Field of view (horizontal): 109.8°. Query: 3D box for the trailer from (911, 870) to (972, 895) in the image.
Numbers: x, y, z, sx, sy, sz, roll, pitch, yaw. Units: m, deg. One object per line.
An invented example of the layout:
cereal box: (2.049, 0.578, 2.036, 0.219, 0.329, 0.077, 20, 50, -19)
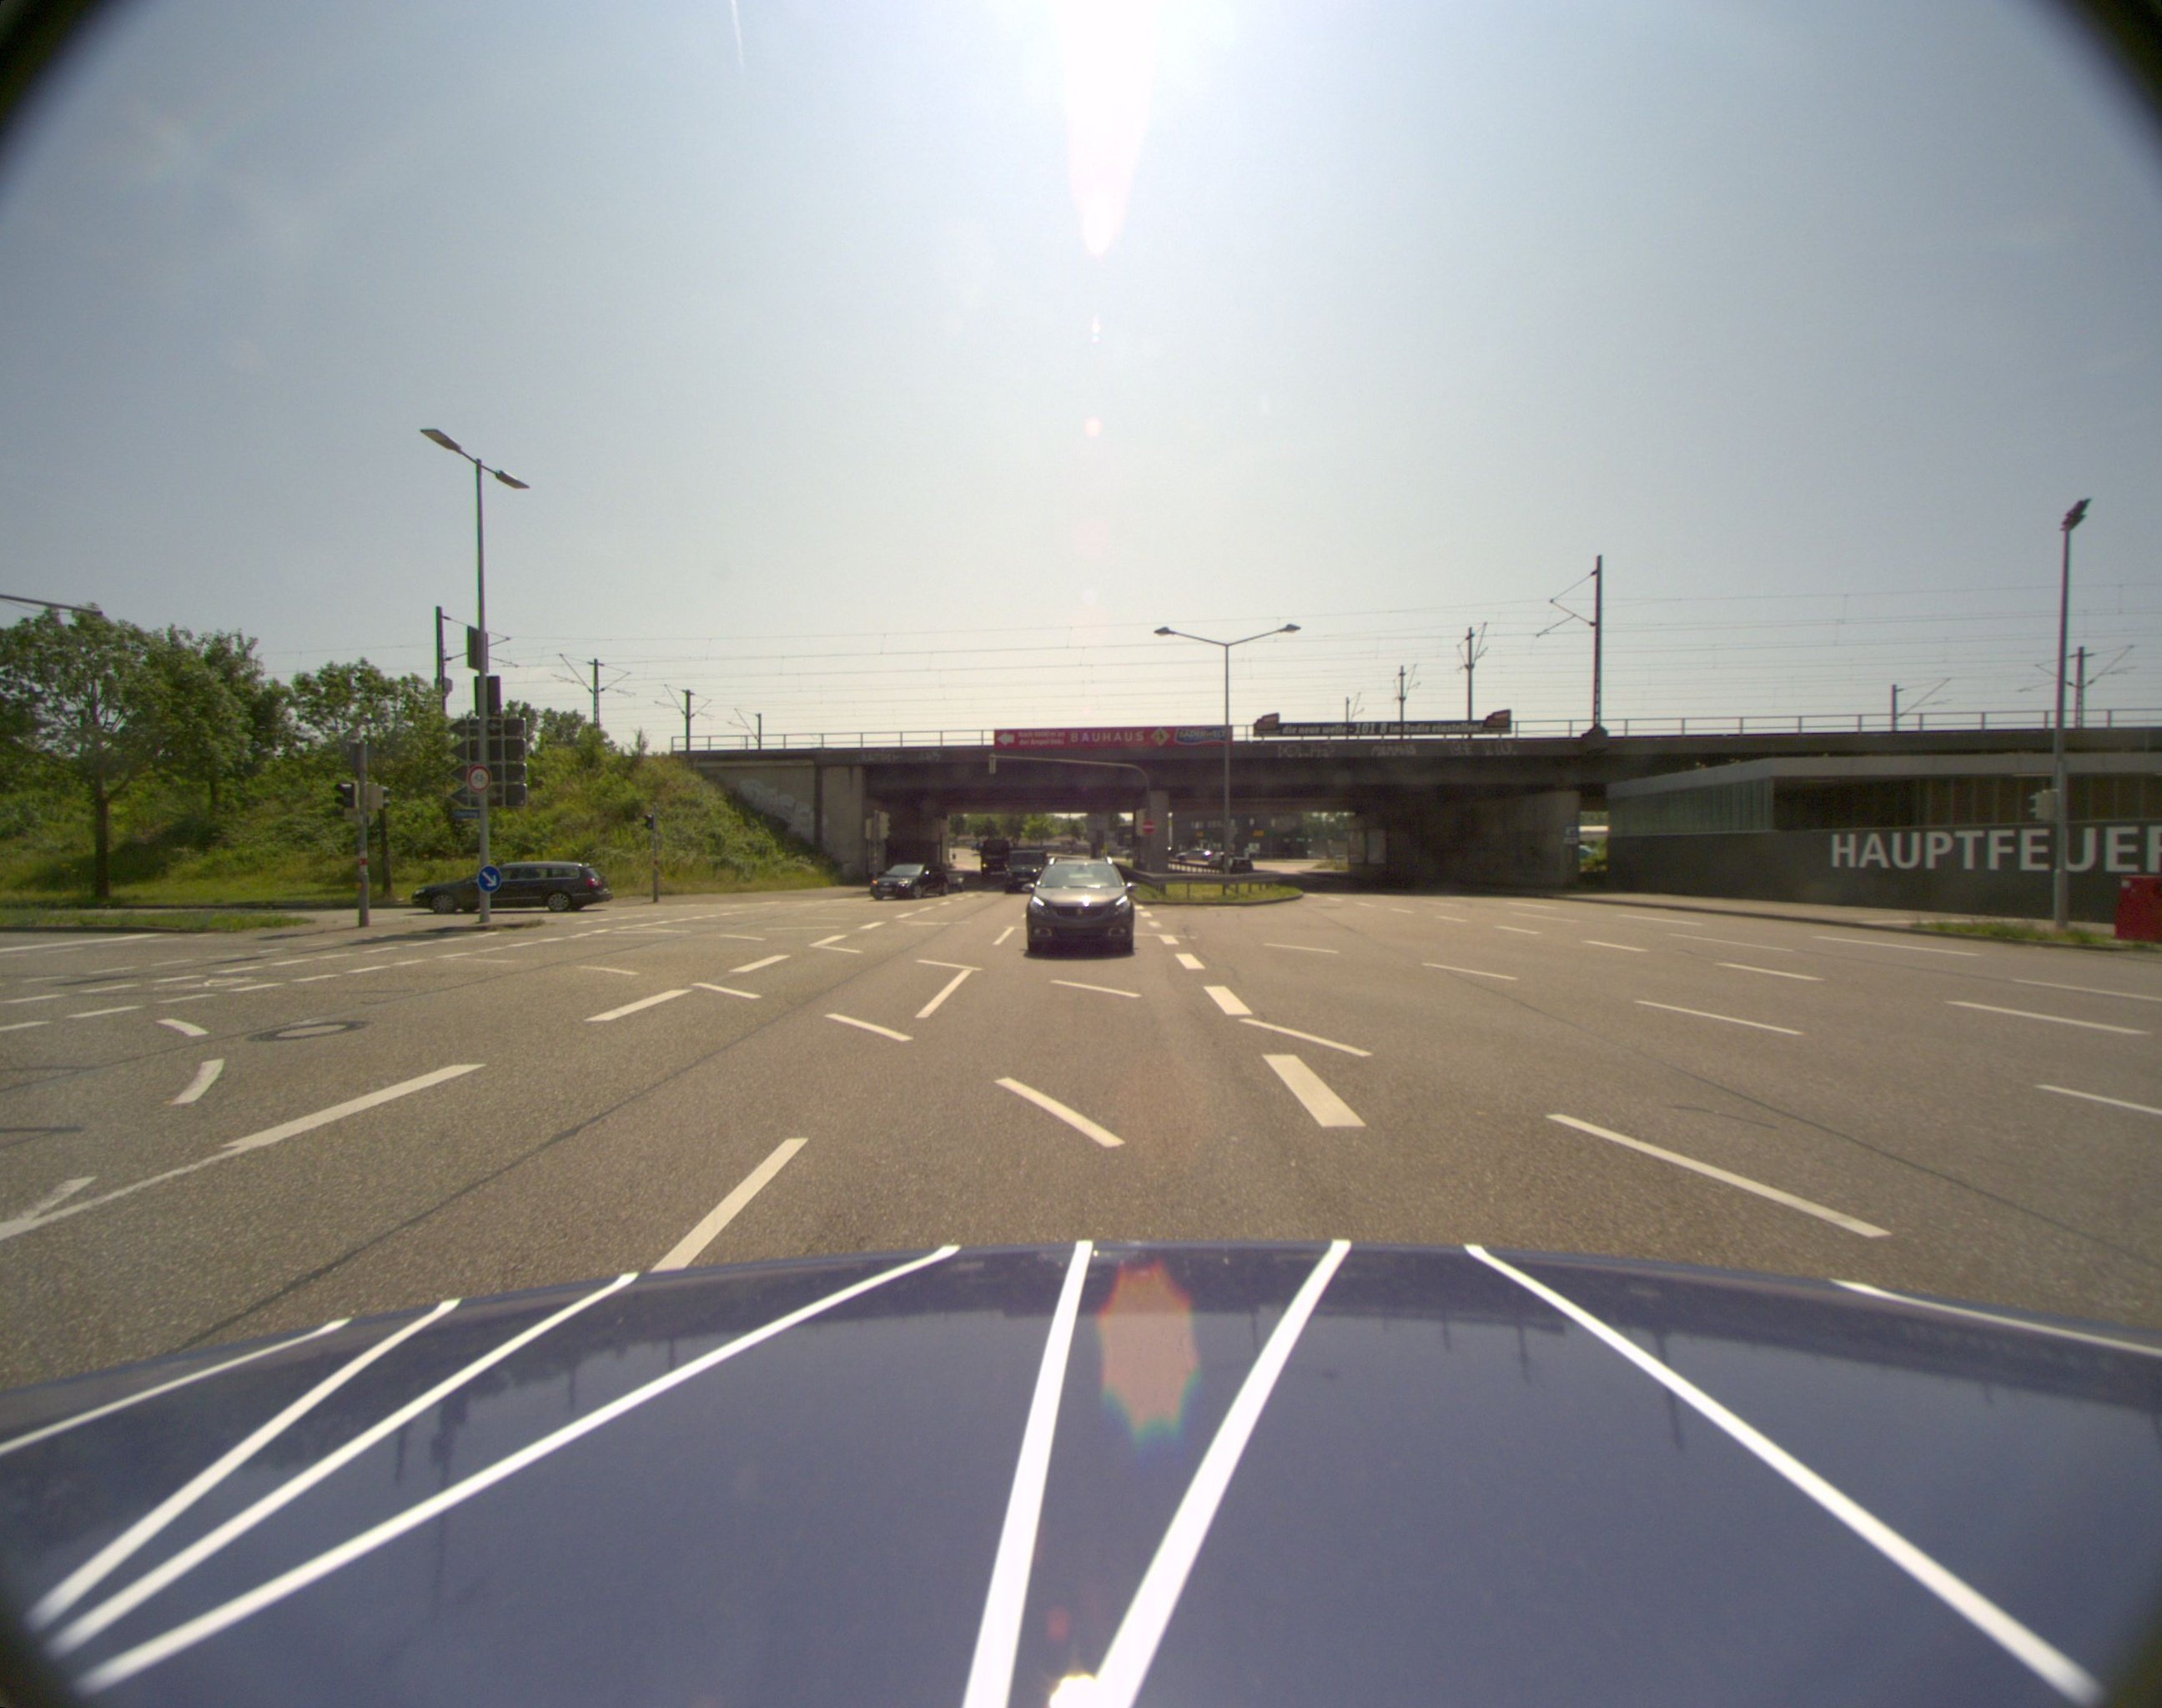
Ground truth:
trailer: (-6.143, 1.245, 33.816, 1.679, 0.936, 3.834, 0, 0, 5)

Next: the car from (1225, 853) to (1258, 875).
car: (11.211, 0.691, 53.213, 1.710, 1.442, 3.373, 0, 0, 1)

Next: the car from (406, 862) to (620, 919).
car: (-16.478, 1.016, 22.347, 4.678, 1.494, 1.806, 0, 0, -20)

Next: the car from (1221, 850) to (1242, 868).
car: (13.481, 0.438, 68.363, 1.709, 1.535, 3.375, 0, 1, 9)

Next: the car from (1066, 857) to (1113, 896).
car: (0.413, 0.889, 31.488, 1.816, 1.456, 4.000, 0, 0, 3)

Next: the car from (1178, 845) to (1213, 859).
car: (14.065, -0.193, 93.098, 3.991, 1.674, 2.003, 0, 0, 17)

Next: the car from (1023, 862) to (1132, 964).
car: (0.059, 0.911, 13.596, 1.619, 1.502, 4.459, 0, 0, 3)

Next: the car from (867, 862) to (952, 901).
car: (-6.698, 1.042, 30.112, 1.806, 1.382, 3.907, 0, 0, 13)

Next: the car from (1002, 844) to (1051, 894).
car: (-2.422, 0.610, 34.779, 1.841, 2.141, 4.557, 0, 1, 0)

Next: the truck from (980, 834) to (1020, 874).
truck: (-6.586, 0.014, 61.036, 2.887, 2.899, 8.511, -1, 0, -7)
